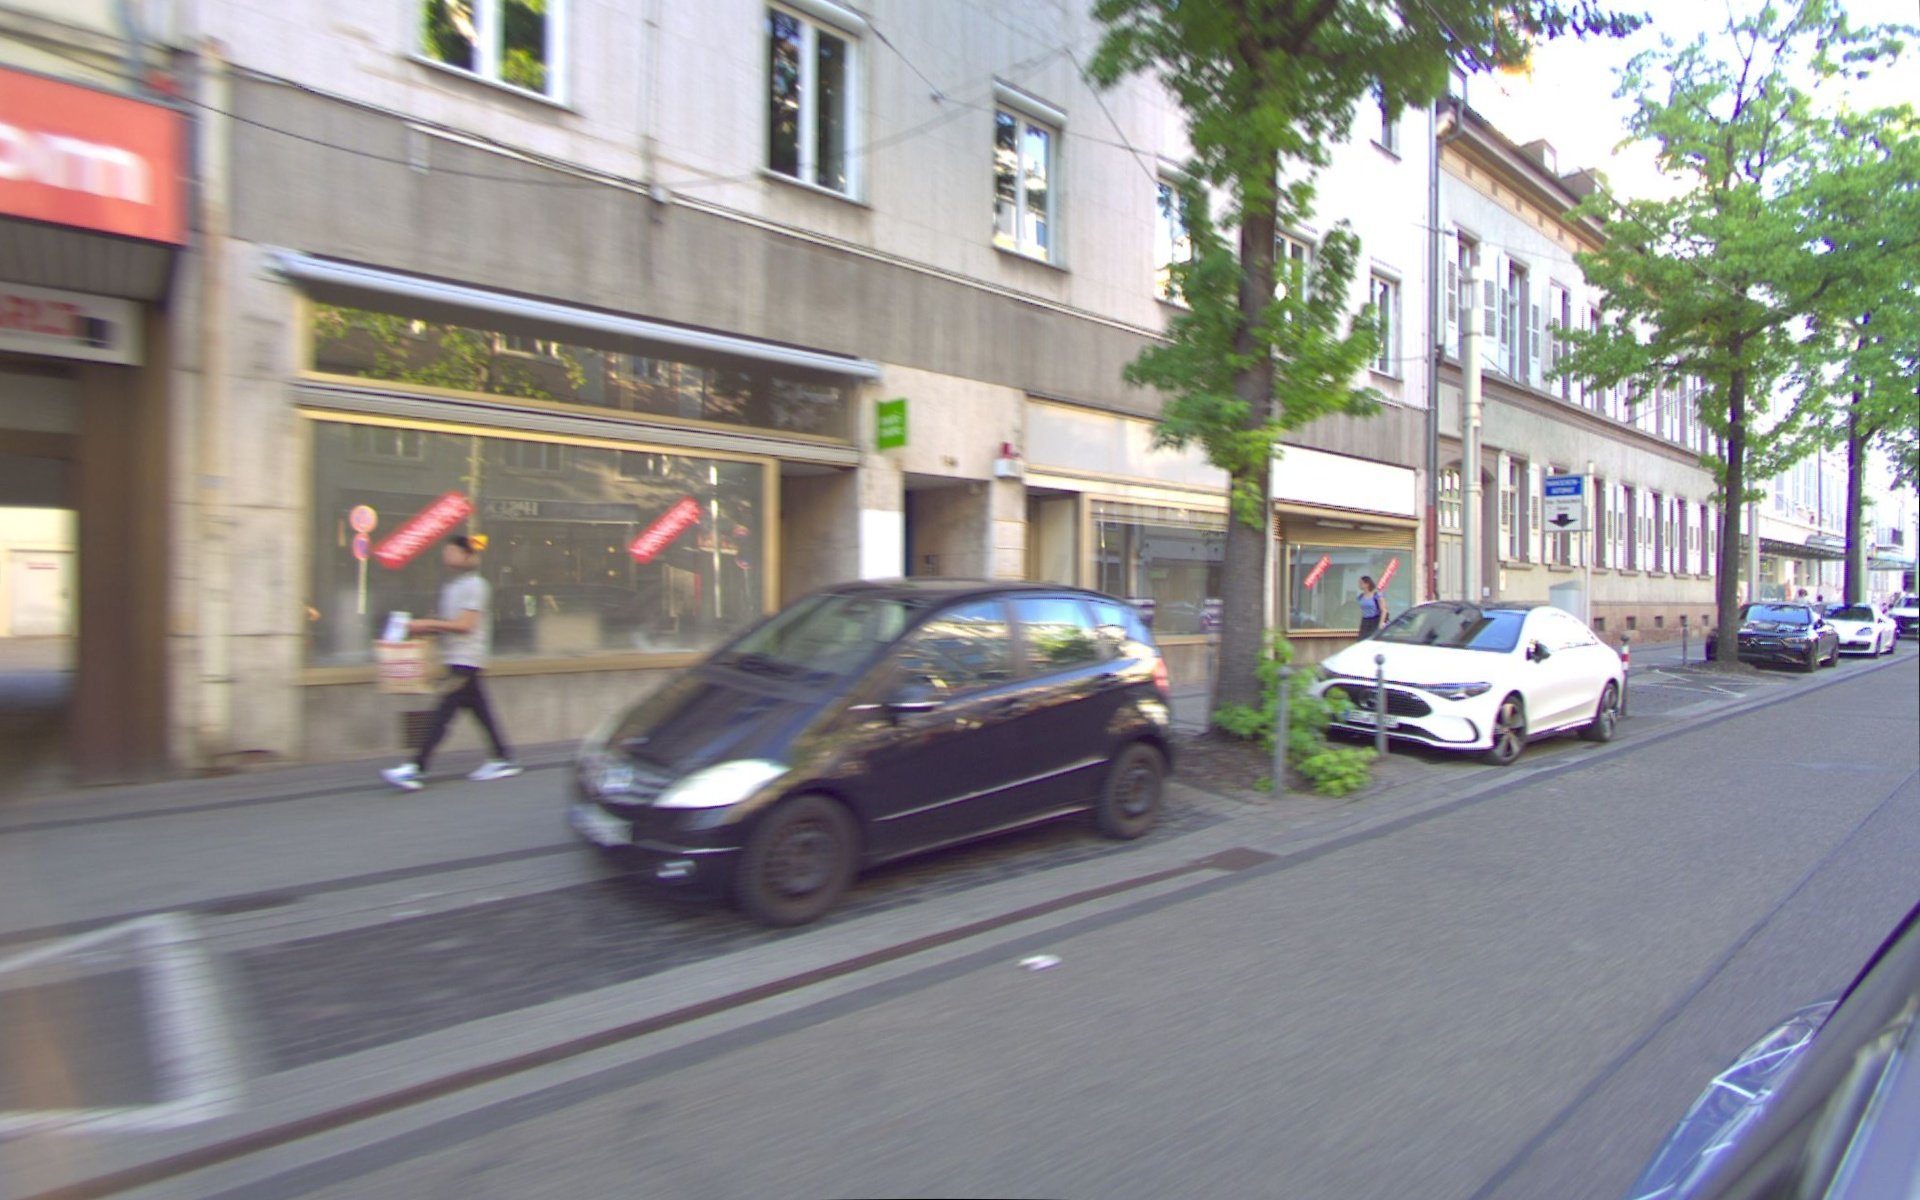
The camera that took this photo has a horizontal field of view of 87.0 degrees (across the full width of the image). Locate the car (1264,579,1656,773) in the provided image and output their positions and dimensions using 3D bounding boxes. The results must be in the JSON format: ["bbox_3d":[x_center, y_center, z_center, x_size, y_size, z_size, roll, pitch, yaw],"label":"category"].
[{"bbox_3d":[5.410,0.620,10.677,4.597,1.516,1.998,0,3,-41],"label":"car"}]

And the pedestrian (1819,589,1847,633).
[{"bbox_3d":[31.564,0.393,36.592,0.784,1.593,0.650,0,0,-41],"label":"pedestrian"}]

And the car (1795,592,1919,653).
[{"bbox_3d":[24.706,0.564,27.800,4.802,1.438,1.917,0,3,-41],"label":"car"}]

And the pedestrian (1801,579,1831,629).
[{"bbox_3d":[33.608,0.155,39.735,1.034,1.910,0.714,0,1,-41],"label":"pedestrian"}]

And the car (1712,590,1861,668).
[{"bbox_3d":[18.498,0.560,22.570,4.680,1.496,1.836,0,3,-42],"label":"car"}]

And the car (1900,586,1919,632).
[{"bbox_3d":[38.216,0.354,39.454,4.886,1.708,2.000,-1,3,-44],"label":"car"}]

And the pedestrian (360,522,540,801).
[{"bbox_3d":[-3.566,0.370,7.065,0.916,1.774,0.860,0,3,-41],"label":"pedestrian"}]

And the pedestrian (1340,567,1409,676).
[{"bbox_3d":[6.720,0.327,16.394,0.873,1.685,0.659,0,2,-42],"label":"pedestrian"}]

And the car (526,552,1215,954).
[{"bbox_3d":[-0.348,0.603,6.136,3.825,1.610,1.780,0,4,-42],"label":"car"}]
